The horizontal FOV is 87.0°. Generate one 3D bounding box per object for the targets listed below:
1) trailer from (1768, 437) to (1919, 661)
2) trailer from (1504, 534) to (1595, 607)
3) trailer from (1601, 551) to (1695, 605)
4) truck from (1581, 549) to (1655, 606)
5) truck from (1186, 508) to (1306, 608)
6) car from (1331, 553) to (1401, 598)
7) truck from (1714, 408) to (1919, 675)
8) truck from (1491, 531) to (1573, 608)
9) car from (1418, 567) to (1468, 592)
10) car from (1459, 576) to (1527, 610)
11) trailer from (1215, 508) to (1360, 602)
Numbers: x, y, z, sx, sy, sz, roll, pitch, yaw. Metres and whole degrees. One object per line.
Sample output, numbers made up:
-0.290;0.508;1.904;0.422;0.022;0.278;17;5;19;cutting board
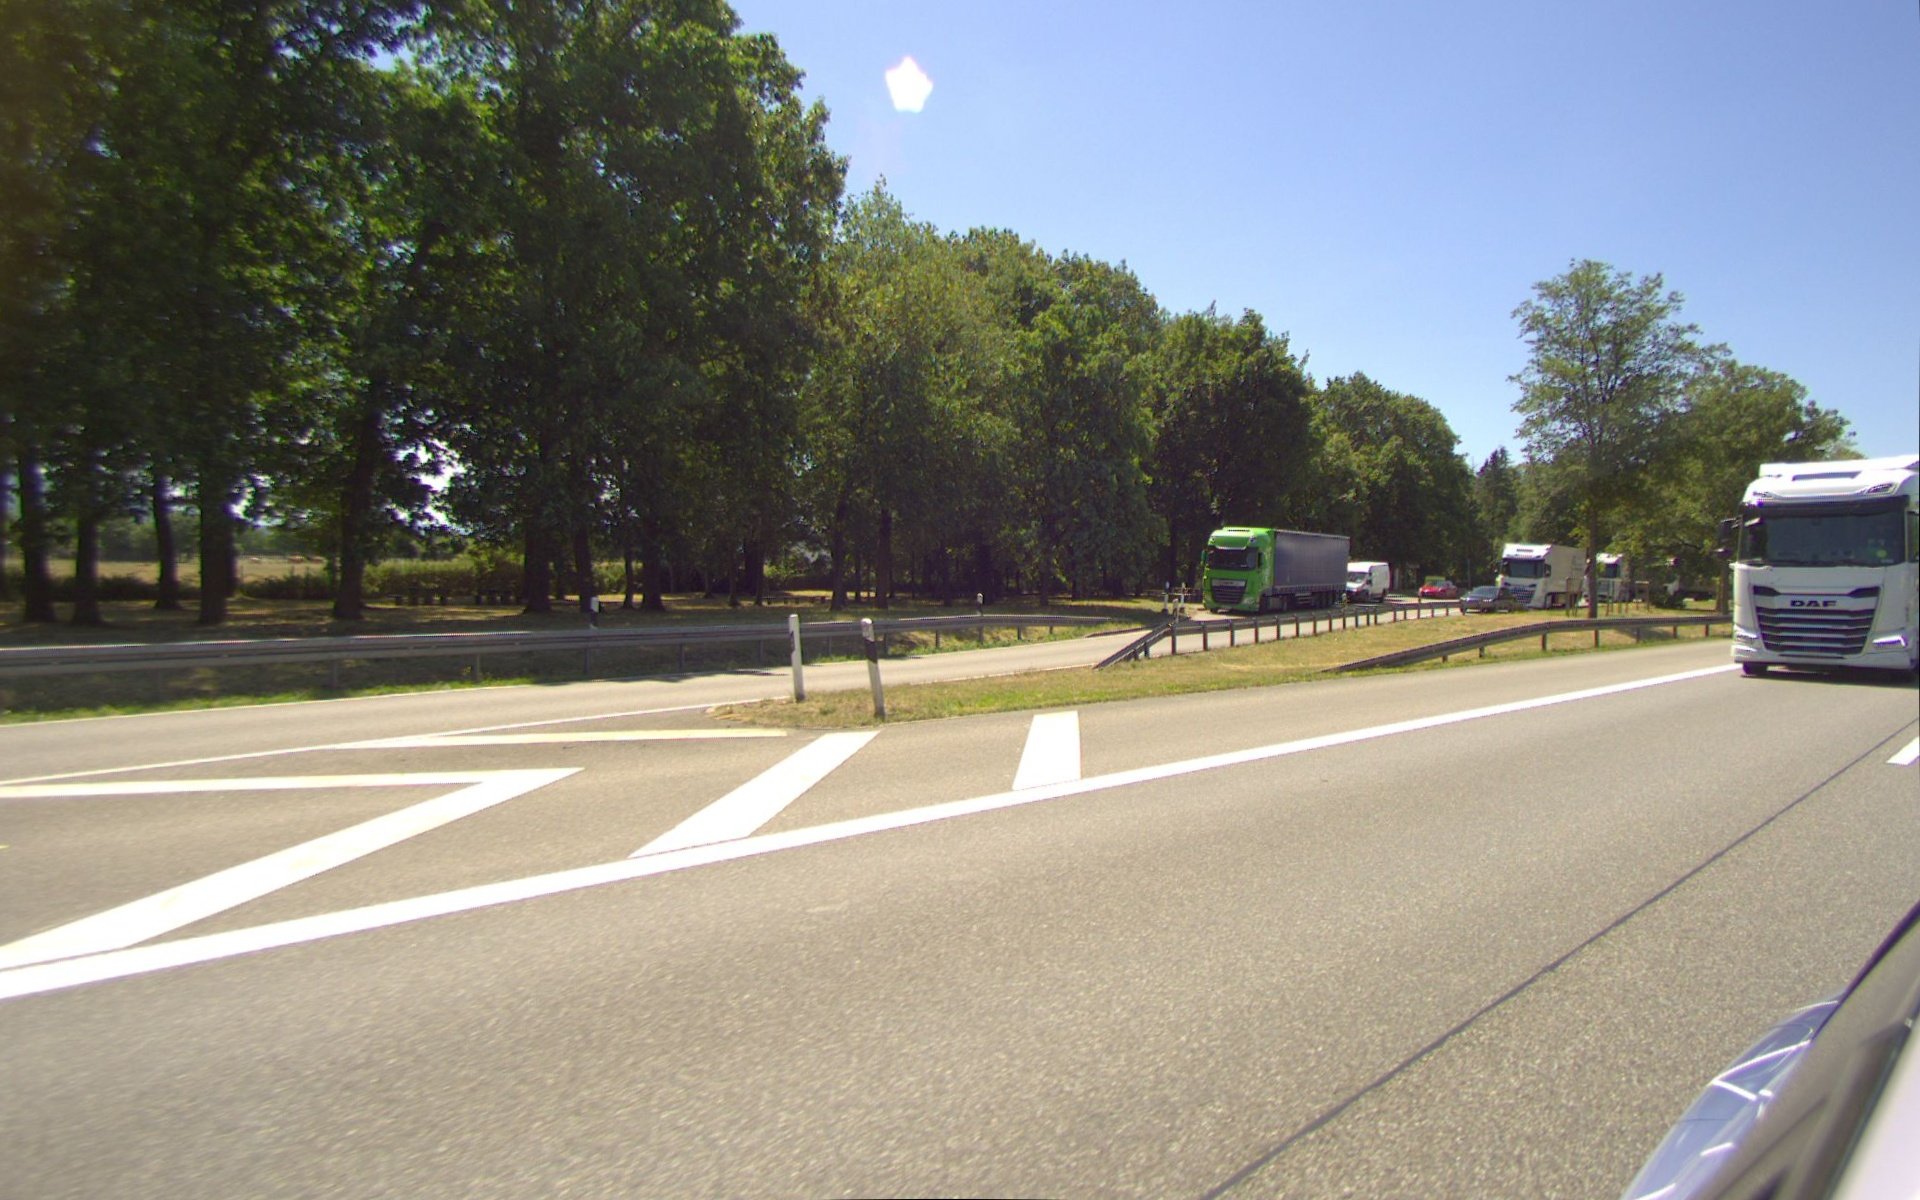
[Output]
23.526;-1.070;25.105;14.720;4.326;2.861;-1;0;-41;trailer
40.281;-1.893;68.804;3.377;4.519;14.161;0;0;38;trailer
62.491;-1.968;91.573;17.827;4.518;3.386;-1;2;-44;trailer
54.774;-1.873;84.118;8.097;4.519;3.387;-1;2;-44;truck
13.503;-1.852;47.491;3.374;4.312;6.530;0;0;36;truck
25.789;-1.567;64.162;2.303;2.614;6.558;4;3;38;car
17.233;-0.986;19.602;6.744;4.326;2.861;-1;0;-41;truck
35.612;-1.813;62.871;3.377;4.519;7.287;0;0;38;truck
36.531;-1.569;76.436;2.140;1.774;4.797;4;4;41;car
29.858;-0.411;56.636;4.604;1.731;1.996;-1;4;-45;car
17.458;-2.147;52.953;3.374;4.312;12.974;0;0;36;trailer
